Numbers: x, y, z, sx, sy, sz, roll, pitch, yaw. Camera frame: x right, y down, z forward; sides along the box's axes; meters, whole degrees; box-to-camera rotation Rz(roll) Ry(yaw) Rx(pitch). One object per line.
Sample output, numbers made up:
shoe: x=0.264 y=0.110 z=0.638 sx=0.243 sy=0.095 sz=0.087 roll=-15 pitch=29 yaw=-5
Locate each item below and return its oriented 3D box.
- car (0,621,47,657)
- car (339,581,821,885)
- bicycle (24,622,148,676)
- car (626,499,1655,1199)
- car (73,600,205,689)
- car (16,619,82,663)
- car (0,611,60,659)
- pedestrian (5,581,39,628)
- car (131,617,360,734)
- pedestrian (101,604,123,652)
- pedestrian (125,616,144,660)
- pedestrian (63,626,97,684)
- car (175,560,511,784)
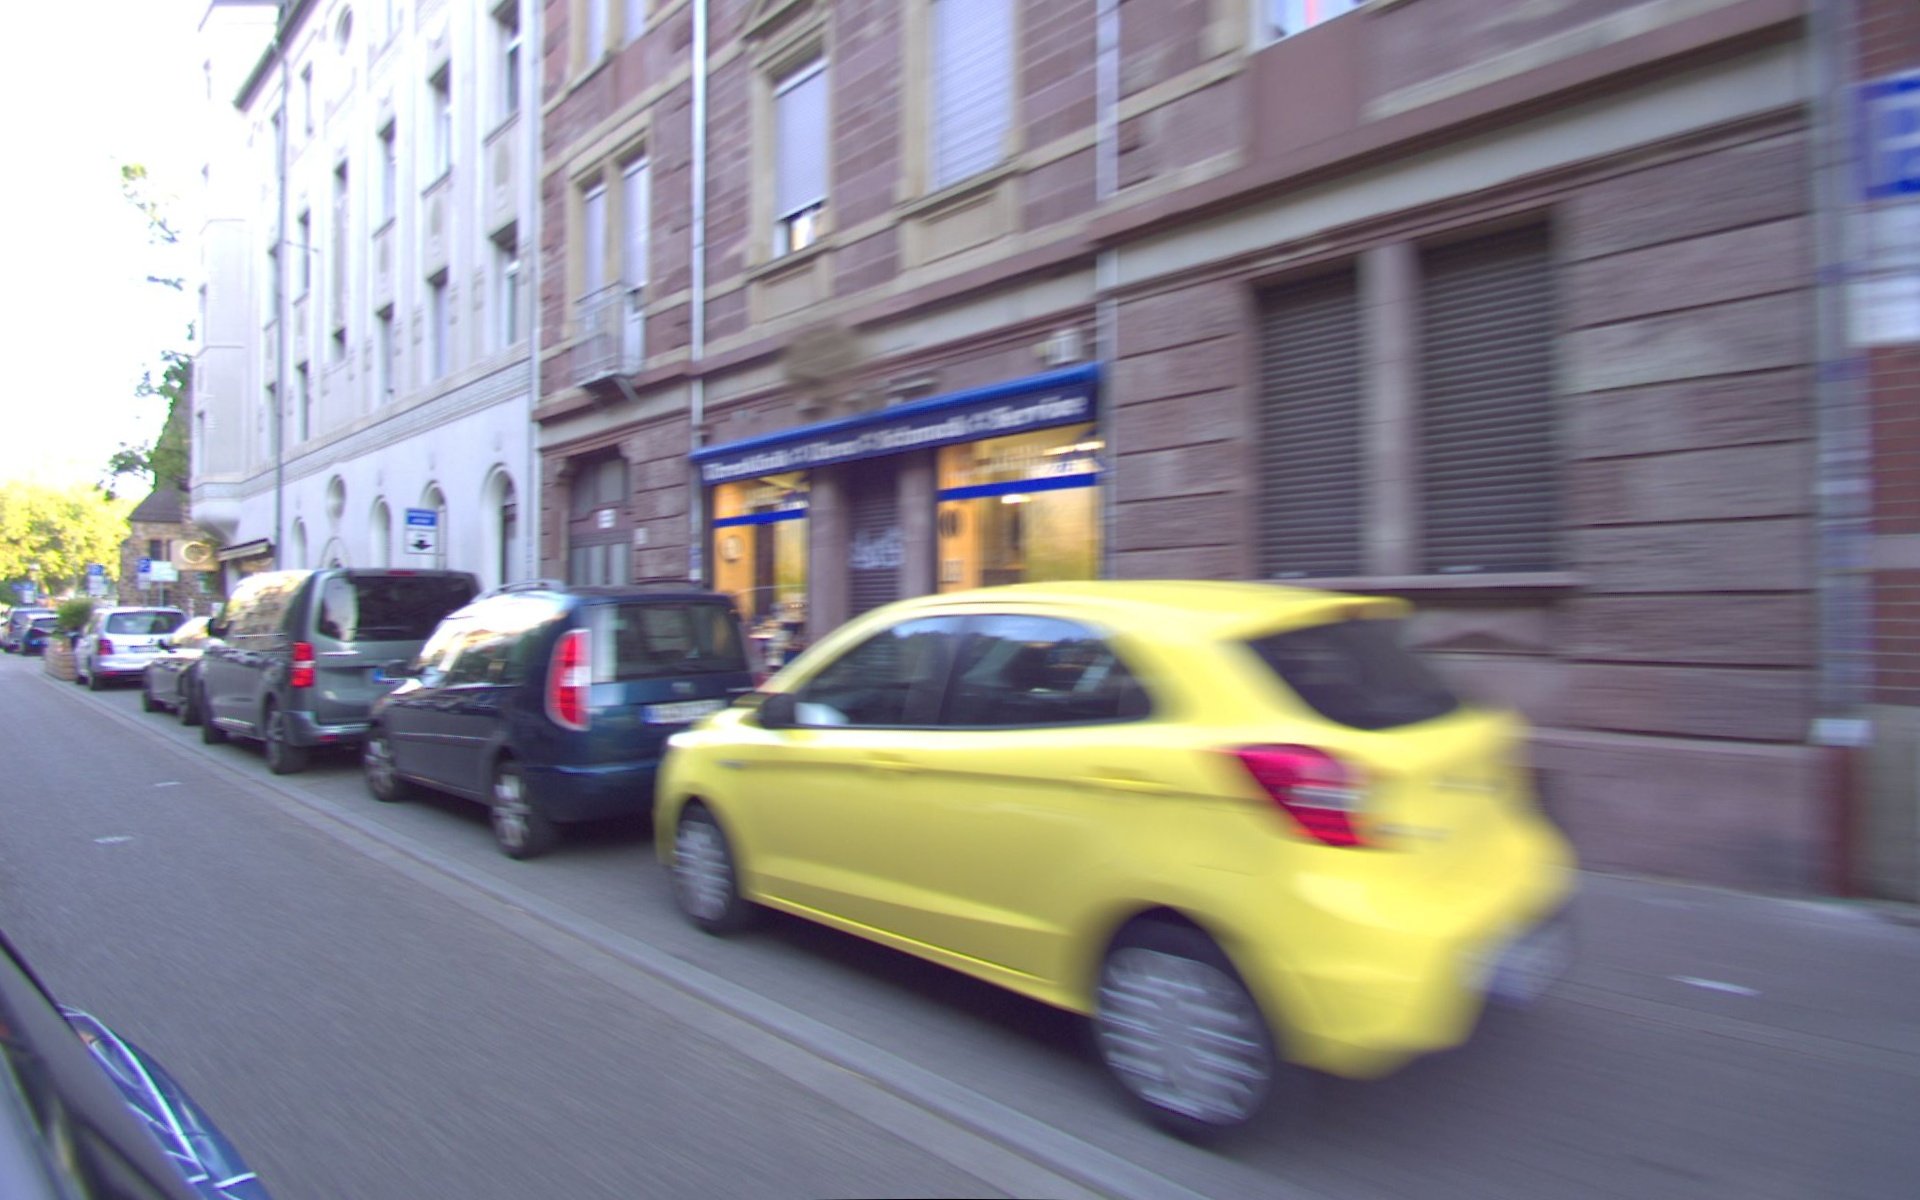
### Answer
car: x=-44.521 y=1.802 z=47.820 sx=4.001 sy=1.558 sz=1.762 roll=-1 pitch=0 yaw=44
car: x=-2.983 y=0.743 z=7.465 sx=1.905 sy=1.608 sz=3.972 roll=1 pitch=-1 yaw=-44
bicycle: x=-24.536 y=1.355 z=28.482 sx=2.580 sy=1.409 sz=0.603 roll=-1 pitch=0 yaw=-33
car: x=0.326 y=0.598 z=4.058 sx=1.685 sy=1.541 sz=3.795 roll=1 pitch=-1 yaw=-44
car: x=-17.161 y=0.879 z=21.094 sx=3.918 sy=1.660 sz=1.706 roll=-1 pitch=-1 yaw=44
car: x=-35.515 y=1.553 z=39.428 sx=1.761 sy=1.558 sz=4.003 roll=-1 pitch=0 yaw=-44
car: x=-39.283 y=1.425 z=42.699 sx=1.761 sy=1.885 sz=4.461 roll=-1 pitch=0 yaw=-44
pedestrian: x=-56.740 y=0.271 z=61.221 sx=1.012 sy=2.761 sz=1.426 roll=-1 pitch=0 yaw=43
car: x=-10.558 y=0.987 z=14.830 sx=4.482 sy=1.441 sz=1.906 roll=-1 pitch=-1 yaw=43
pedestrian: x=-31.809 y=1.039 z=37.943 sx=0.562 sy=1.746 sz=0.558 roll=-1 pitch=0 yaw=43
pedestrian: x=-31.363 y=1.434 z=38.454 sx=0.562 sy=1.618 sz=0.501 roll=-1 pitch=0 yaw=43
pedestrian: x=-20.988 y=1.296 z=24.128 sx=0.496 sy=1.333 sz=0.563 roll=-1 pitch=0 yaw=43
car: x=-6.857 y=0.658 z=10.982 sx=4.906 sy=1.897 sz=1.906 roll=-1 pitch=-1 yaw=43
